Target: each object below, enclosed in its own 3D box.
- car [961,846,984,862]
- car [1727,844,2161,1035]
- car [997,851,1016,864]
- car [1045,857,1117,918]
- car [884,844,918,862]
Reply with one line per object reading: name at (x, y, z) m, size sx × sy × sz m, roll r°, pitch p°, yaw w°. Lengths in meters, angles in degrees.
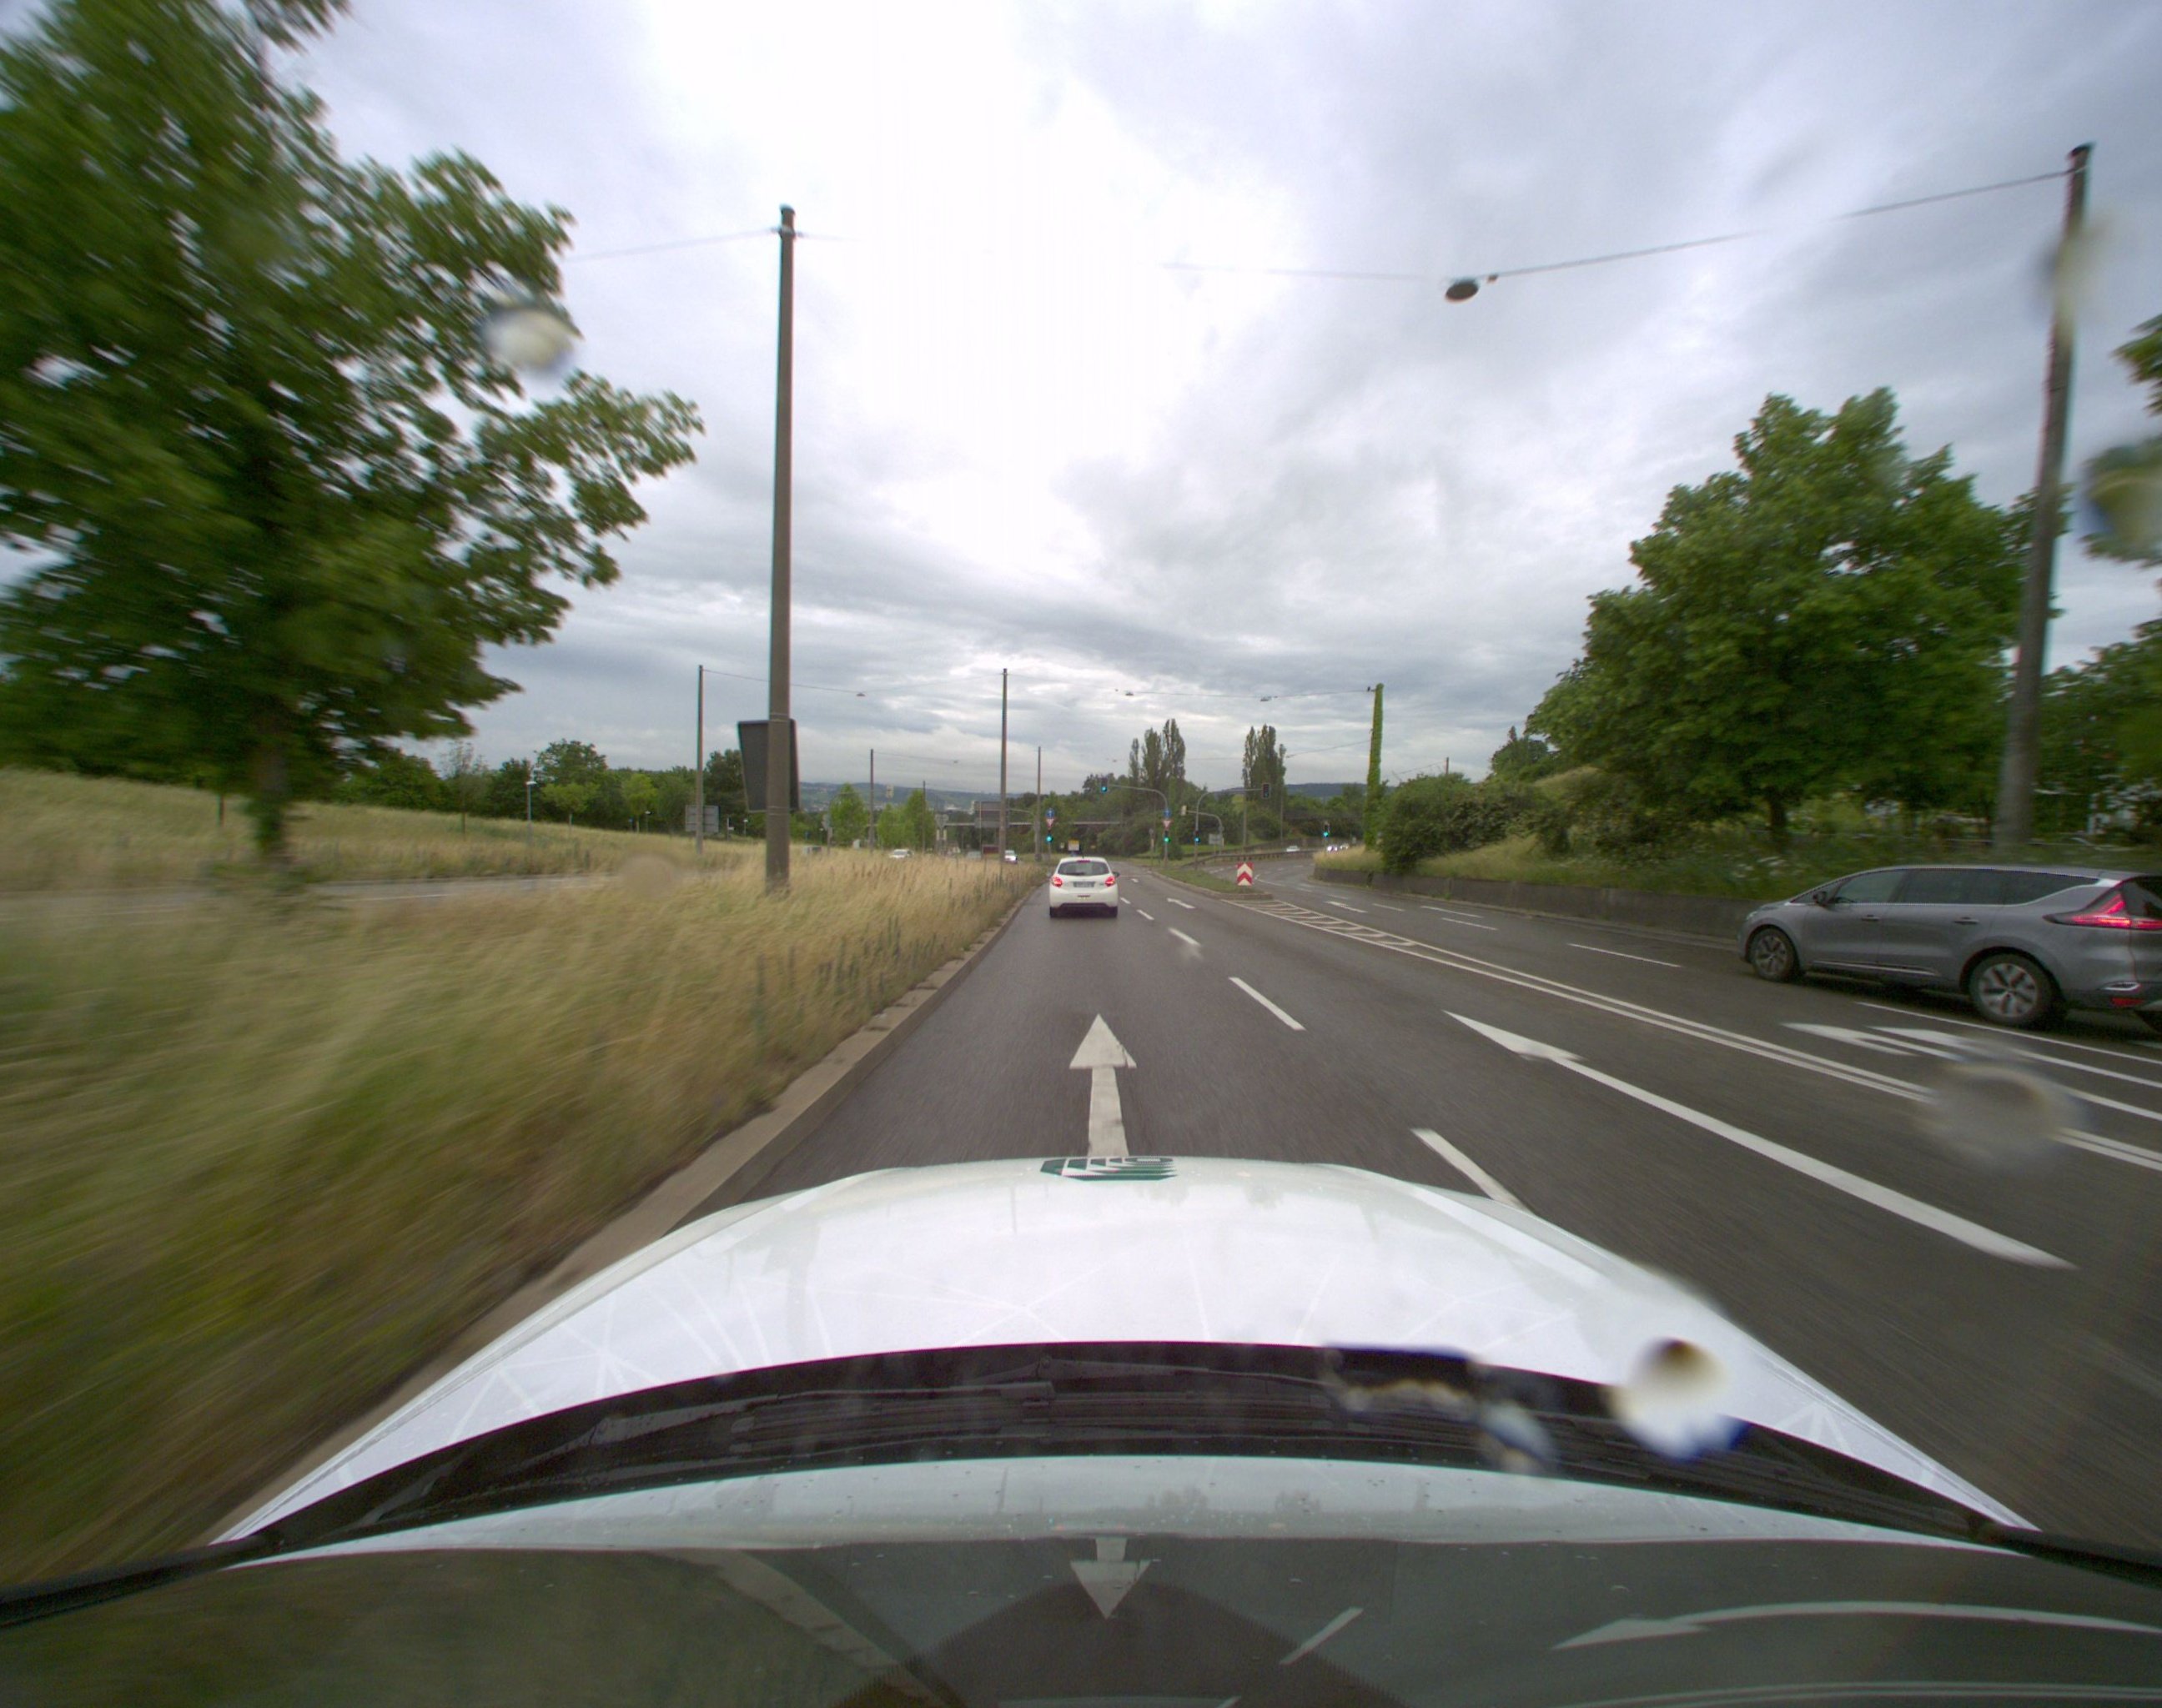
car at (-11.138, 0.023, 83.828) m, size 1.890 × 1.537 × 3.996 m, roll 1°, pitch -1°, yaw -2°
car at (10.096, 0.844, 9.402) m, size 1.719 × 1.649 × 4.627 m, roll 3°, pitch -2°, yaw 2°
car at (-7.866, 0.409, 86.250) m, size 1.733 × 1.373 × 3.995 m, roll 1°, pitch -1°, yaw -3°
car at (0.080, 0.810, 21.076) m, size 1.702 × 1.440 × 3.692 m, roll -1°, pitch -1°, yaw 2°
car at (-17.145, -0.094, 77.751) m, size 1.877 × 1.611 × 4.680 m, roll 1°, pitch -1°, yaw 3°
